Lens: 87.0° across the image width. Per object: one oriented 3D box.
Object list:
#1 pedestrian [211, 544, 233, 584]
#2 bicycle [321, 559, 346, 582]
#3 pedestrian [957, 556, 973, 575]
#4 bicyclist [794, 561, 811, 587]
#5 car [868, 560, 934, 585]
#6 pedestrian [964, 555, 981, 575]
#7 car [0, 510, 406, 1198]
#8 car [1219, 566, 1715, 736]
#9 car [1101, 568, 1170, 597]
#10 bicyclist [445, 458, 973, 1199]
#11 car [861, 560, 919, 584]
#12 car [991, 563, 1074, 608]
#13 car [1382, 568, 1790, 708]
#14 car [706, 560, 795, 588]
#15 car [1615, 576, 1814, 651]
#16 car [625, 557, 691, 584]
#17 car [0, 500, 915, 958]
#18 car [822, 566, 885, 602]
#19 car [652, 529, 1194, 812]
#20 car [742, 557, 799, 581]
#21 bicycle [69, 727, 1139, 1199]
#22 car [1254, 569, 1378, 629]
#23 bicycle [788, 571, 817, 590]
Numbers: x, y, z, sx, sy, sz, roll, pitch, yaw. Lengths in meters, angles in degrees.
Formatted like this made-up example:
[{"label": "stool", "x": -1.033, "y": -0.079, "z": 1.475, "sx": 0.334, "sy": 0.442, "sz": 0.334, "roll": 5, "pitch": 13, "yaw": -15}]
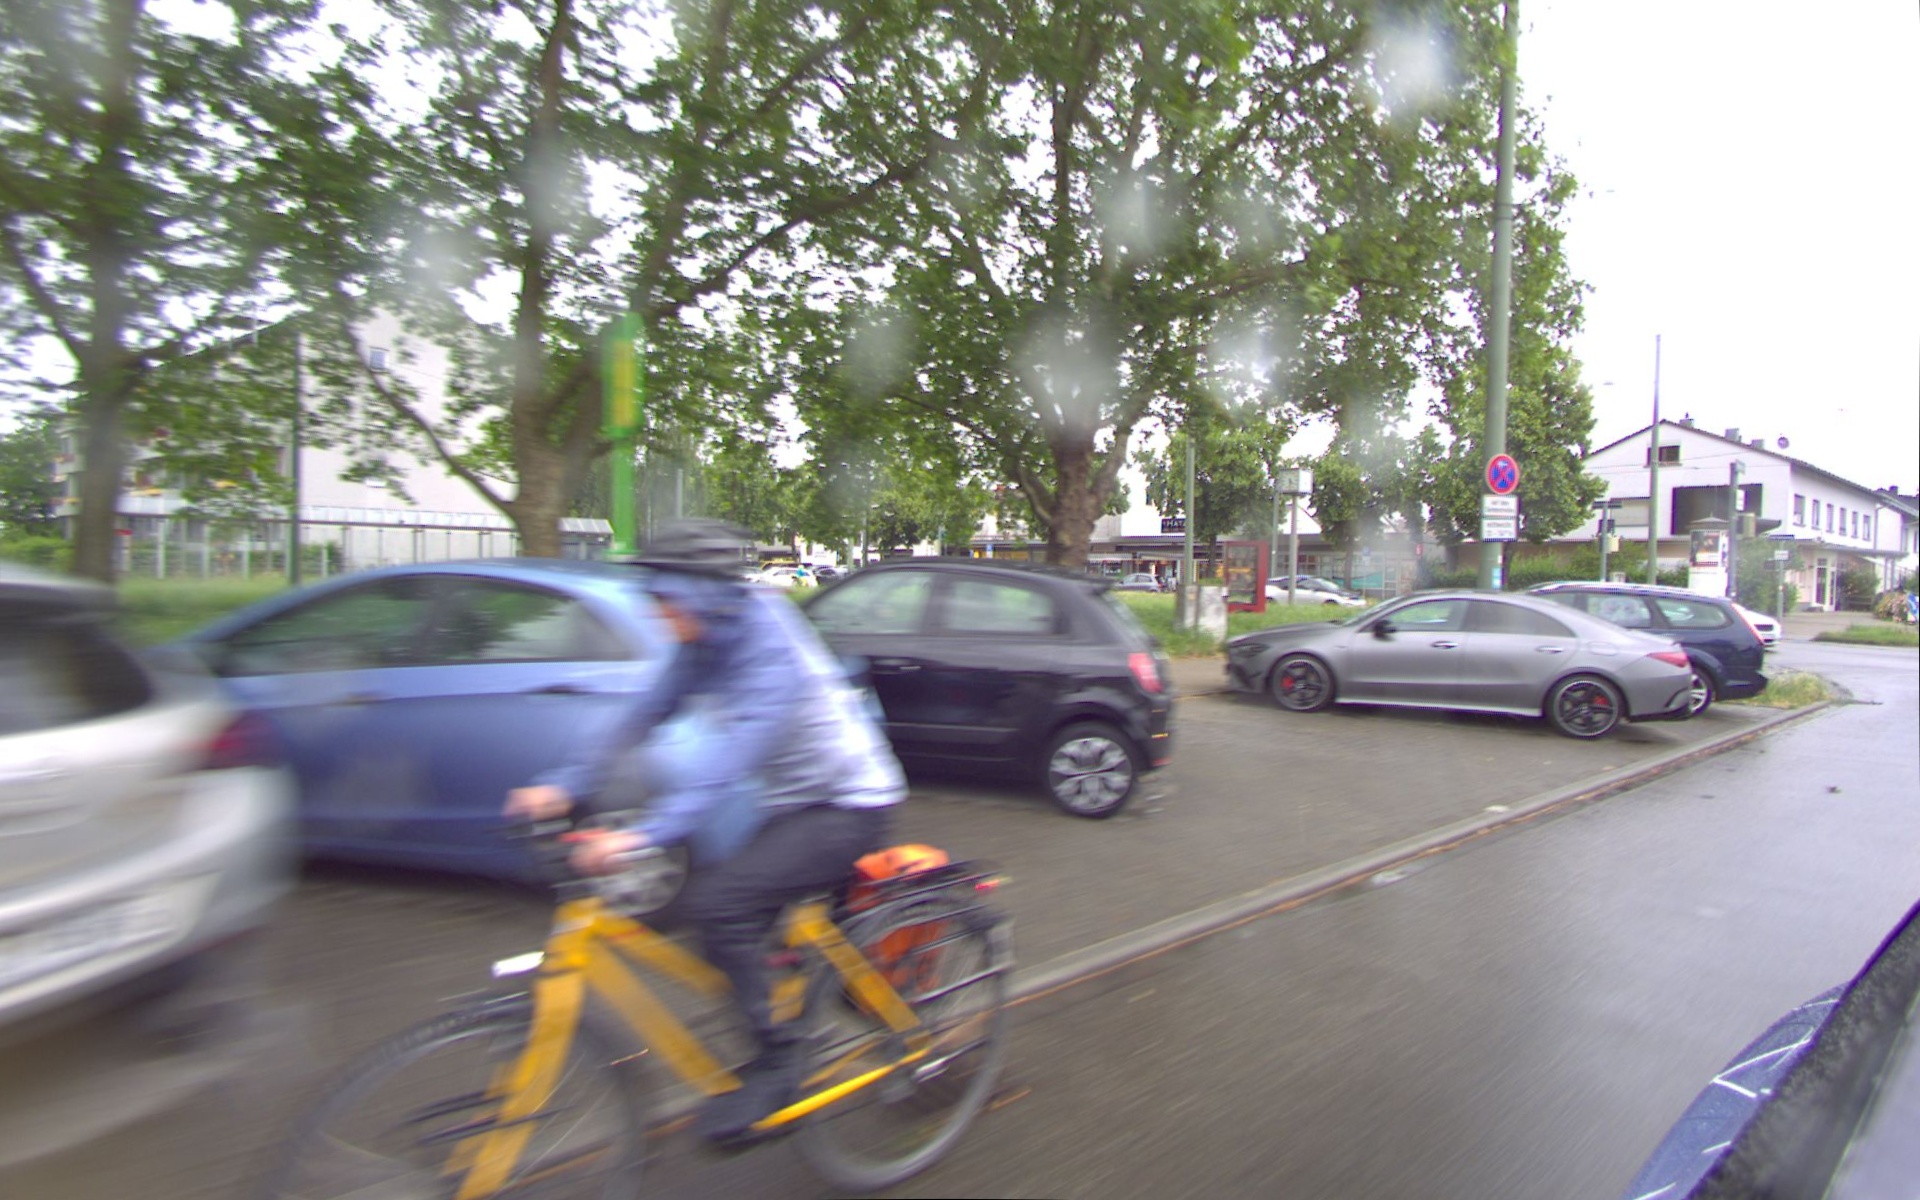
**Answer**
[{"label": "pedestrian", "x": -29.404, "y": -1.447, "z": 40.327, "sx": 0.625, "sy": 1.591, "sz": 0.789, "roll": -2, "pitch": 3, "yaw": -40}, {"label": "bicycle", "x": -26.174, "y": -1.232, "z": 42.273, "sx": 1.300, "sy": 0.959, "sz": 0.412, "roll": 2, "pitch": 3, "yaw": 36}, {"label": "pedestrian", "x": 0.443, "y": -2.955, "z": 87.753, "sx": 1.058, "sy": 1.603, "sz": 0.950, "roll": 1, "pitch": 2, "yaw": -28}, {"label": "bicyclist", "x": -9.235, "y": -1.524, "z": 59.214, "sx": 0.719, "sy": 1.535, "sz": 0.691, "roll": 0, "pitch": 1, "yaw": 33}, {"label": "car", "x": -4.057, "y": -1.923, "z": 70.372, "sx": 4.262, "sy": 1.694, "sz": 1.998, "roll": -2, "pitch": 3, "yaw": -40}, {"label": "pedestrian", "x": 1.076, "y": -2.992, "z": 86.463, "sx": 1.058, "sy": 1.735, "sz": 0.950, "roll": 1, "pitch": 2, "yaw": -28}, {"label": "car", "x": -4.023, "y": 0.489, "z": 3.055, "sx": 3.945, "sy": 1.571, "sz": 1.952, "roll": 3, "pitch": 4, "yaw": 17}, {"label": "car", "x": 5.266, "y": 0.436, "z": 11.138, "sx": 4.495, "sy": 1.494, "sz": 1.792, "roll": 2, "pitch": 1, "yaw": 21}, {"label": "car", "x": 9.917, "y": -1.004, "z": 57.221, "sx": 3.598, "sy": 1.521, "sz": 1.534, "roll": 2, "pitch": 3, "yaw": 34}, {"label": "bicyclist", "x": -0.552, "y": 0.521, "z": 2.150, "sx": 0.830, "sy": 1.504, "sz": 0.753, "roll": 2, "pitch": 1, "yaw": -35}, {"label": "car", "x": -4.974, "y": -2.036, "z": 72.537, "sx": 3.878, "sy": 1.694, "sz": 1.792, "roll": -2, "pitch": 3, "yaw": -40}, {"label": "car", "x": 3.539, "y": -0.776, "z": 49.907, "sx": 1.964, "sy": 2.038, "sz": 3.998, "roll": -3, "pitch": 4, "yaw": -38}, {"label": "car", "x": 7.735, "y": 0.390, "z": 13.020, "sx": 4.125, "sy": 1.494, "sz": 1.793, "roll": 2, "pitch": 1, "yaw": 20}, {"label": "car", "x": -12.417, "y": -1.534, "z": 60.061, "sx": 4.753, "sy": 1.476, "sz": 1.999, "roll": 2, "pitch": 0, "yaw": -38}, {"label": "car", "x": 19.418, "y": 0.274, "z": 26.309, "sx": 1.925, "sy": 1.571, "sz": 4.006, "roll": 1, "pitch": 4, "yaw": -4}, {"label": "car", "x": -22.420, "y": -2.214, "z": 75.257, "sx": 4.365, "sy": 1.868, "sz": 1.722, "roll": -3, "pitch": 4, "yaw": -38}, {"label": "car", "x": -2.372, "y": 0.400, "z": 5.055, "sx": 3.937, "sy": 1.518, "sz": 1.820, "roll": 4, "pitch": 4, "yaw": 10}, {"label": "car", "x": -6.509, "y": -1.010, "z": 61.319, "sx": 1.964, "sy": 2.038, "sz": 3.998, "roll": -3, "pitch": 4, "yaw": -38}, {"label": "car", "x": -0.169, "y": 0.337, "z": 7.183, "sx": 3.466, "sy": 1.524, "sz": 1.747, "roll": 3, "pitch": 4, "yaw": 15}, {"label": "car", "x": -16.433, "y": -2.725, "z": 87.881, "sx": 4.469, "sy": 1.967, "sz": 1.897, "roll": -2, "pitch": 3, "yaw": -40}, {"label": "bicycle", "x": -0.581, "y": 0.915, "z": 2.143, "sx": 1.890, "sy": 1.086, "sz": 0.755, "roll": 1, "pitch": 1, "yaw": -36}, {"label": "car", "x": 13.393, "y": -0.106, "z": 38.220, "sx": 1.965, "sy": 2.038, "sz": 3.996, "roll": -3, "pitch": 4, "yaw": -39}, {"label": "bicycle", "x": -9.214, "y": -1.147, "z": 59.253, "sx": 0.723, "sy": 1.144, "sz": 1.734, "roll": 1, "pitch": 1, "yaw": 32}]
